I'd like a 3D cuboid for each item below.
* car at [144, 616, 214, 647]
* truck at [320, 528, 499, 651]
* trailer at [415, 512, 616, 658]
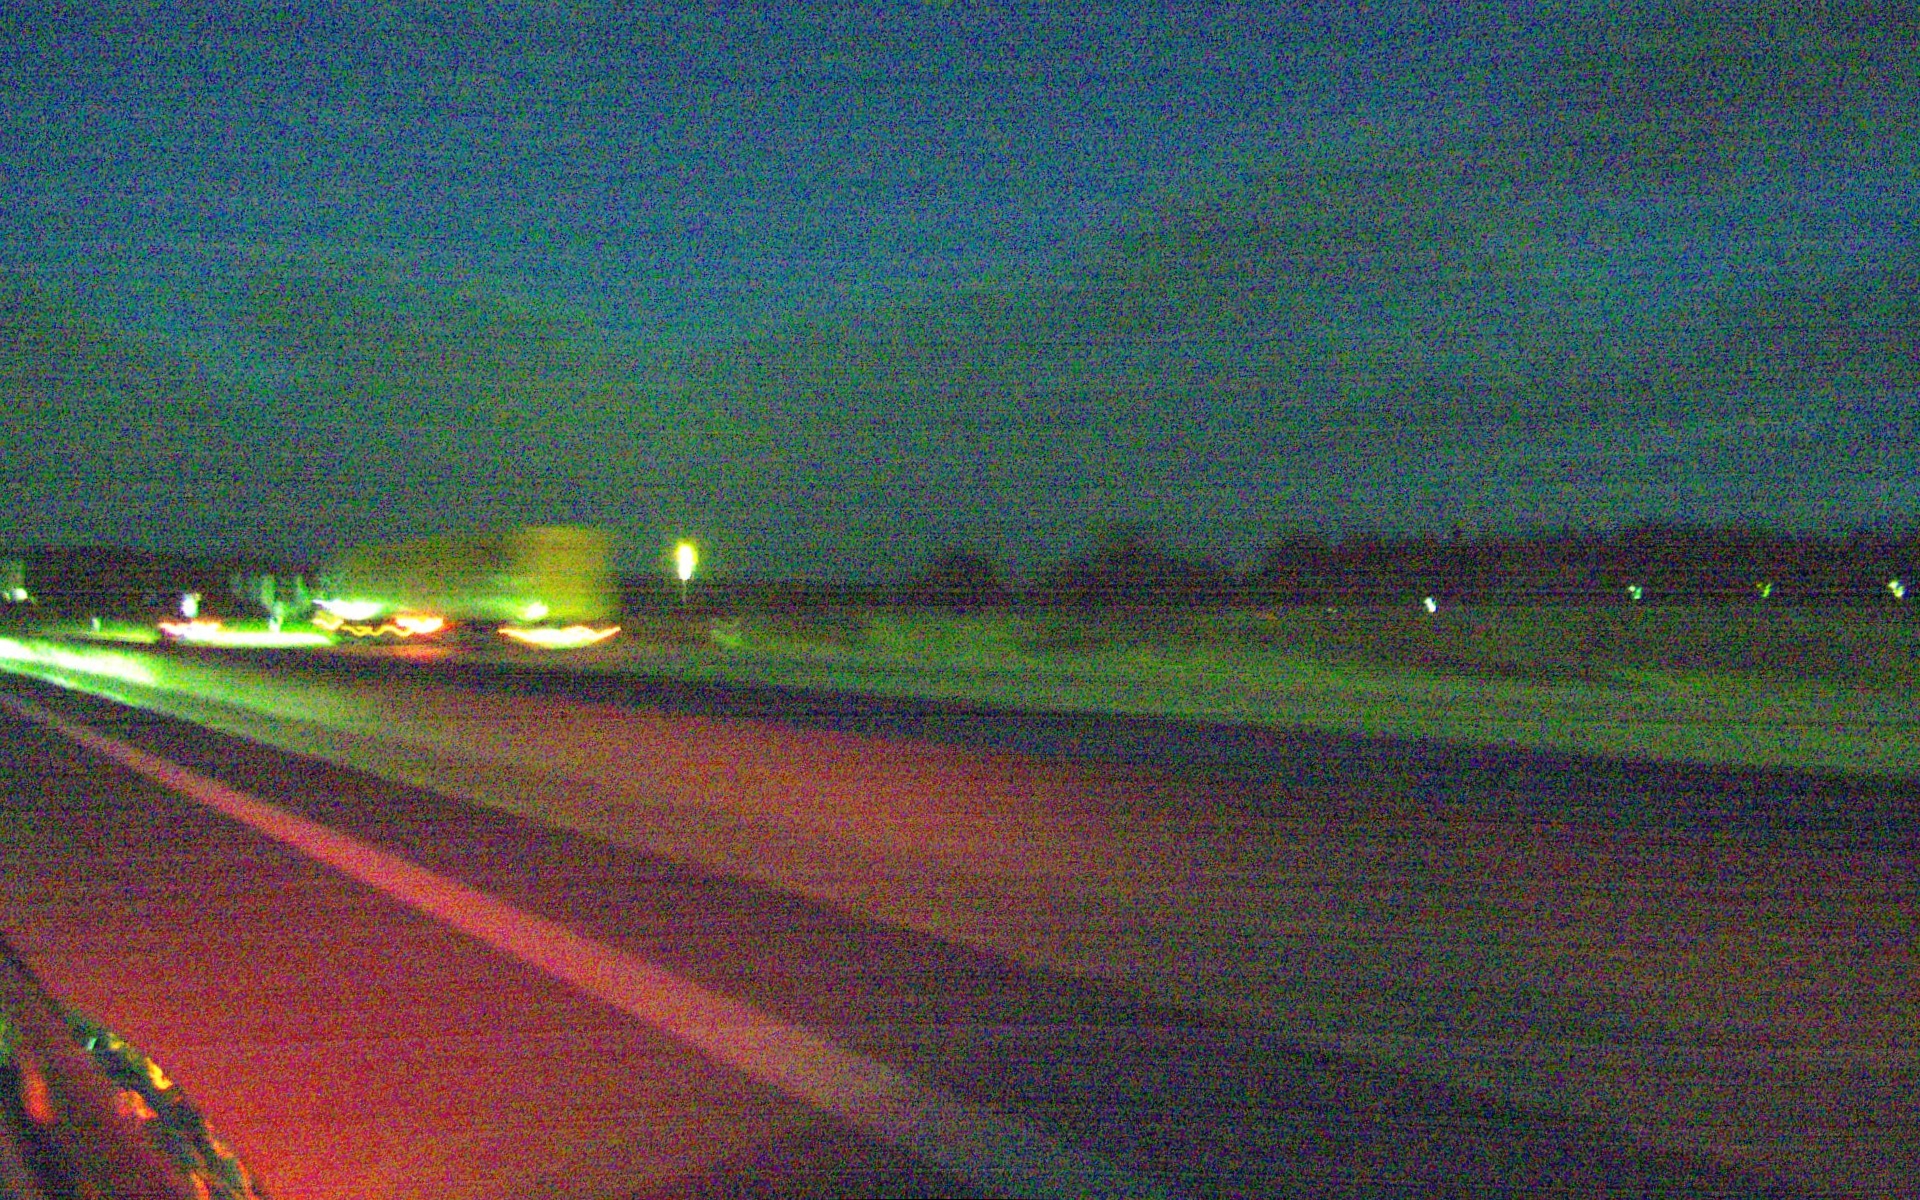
[{"bbox_3d":[-37.332,1.477,48.339,4.387,1.395,1.750,-1,0,40],"label":"car"},{"bbox_3d":[-22.660,-0.322,41.261,10.419,4.472,3.018,-1,0,41],"label":"truck"},{"bbox_3d":[-15.511,-0.431,34.933,8.597,4.472,3.018,-1,0,41],"label":"trailer"}]
